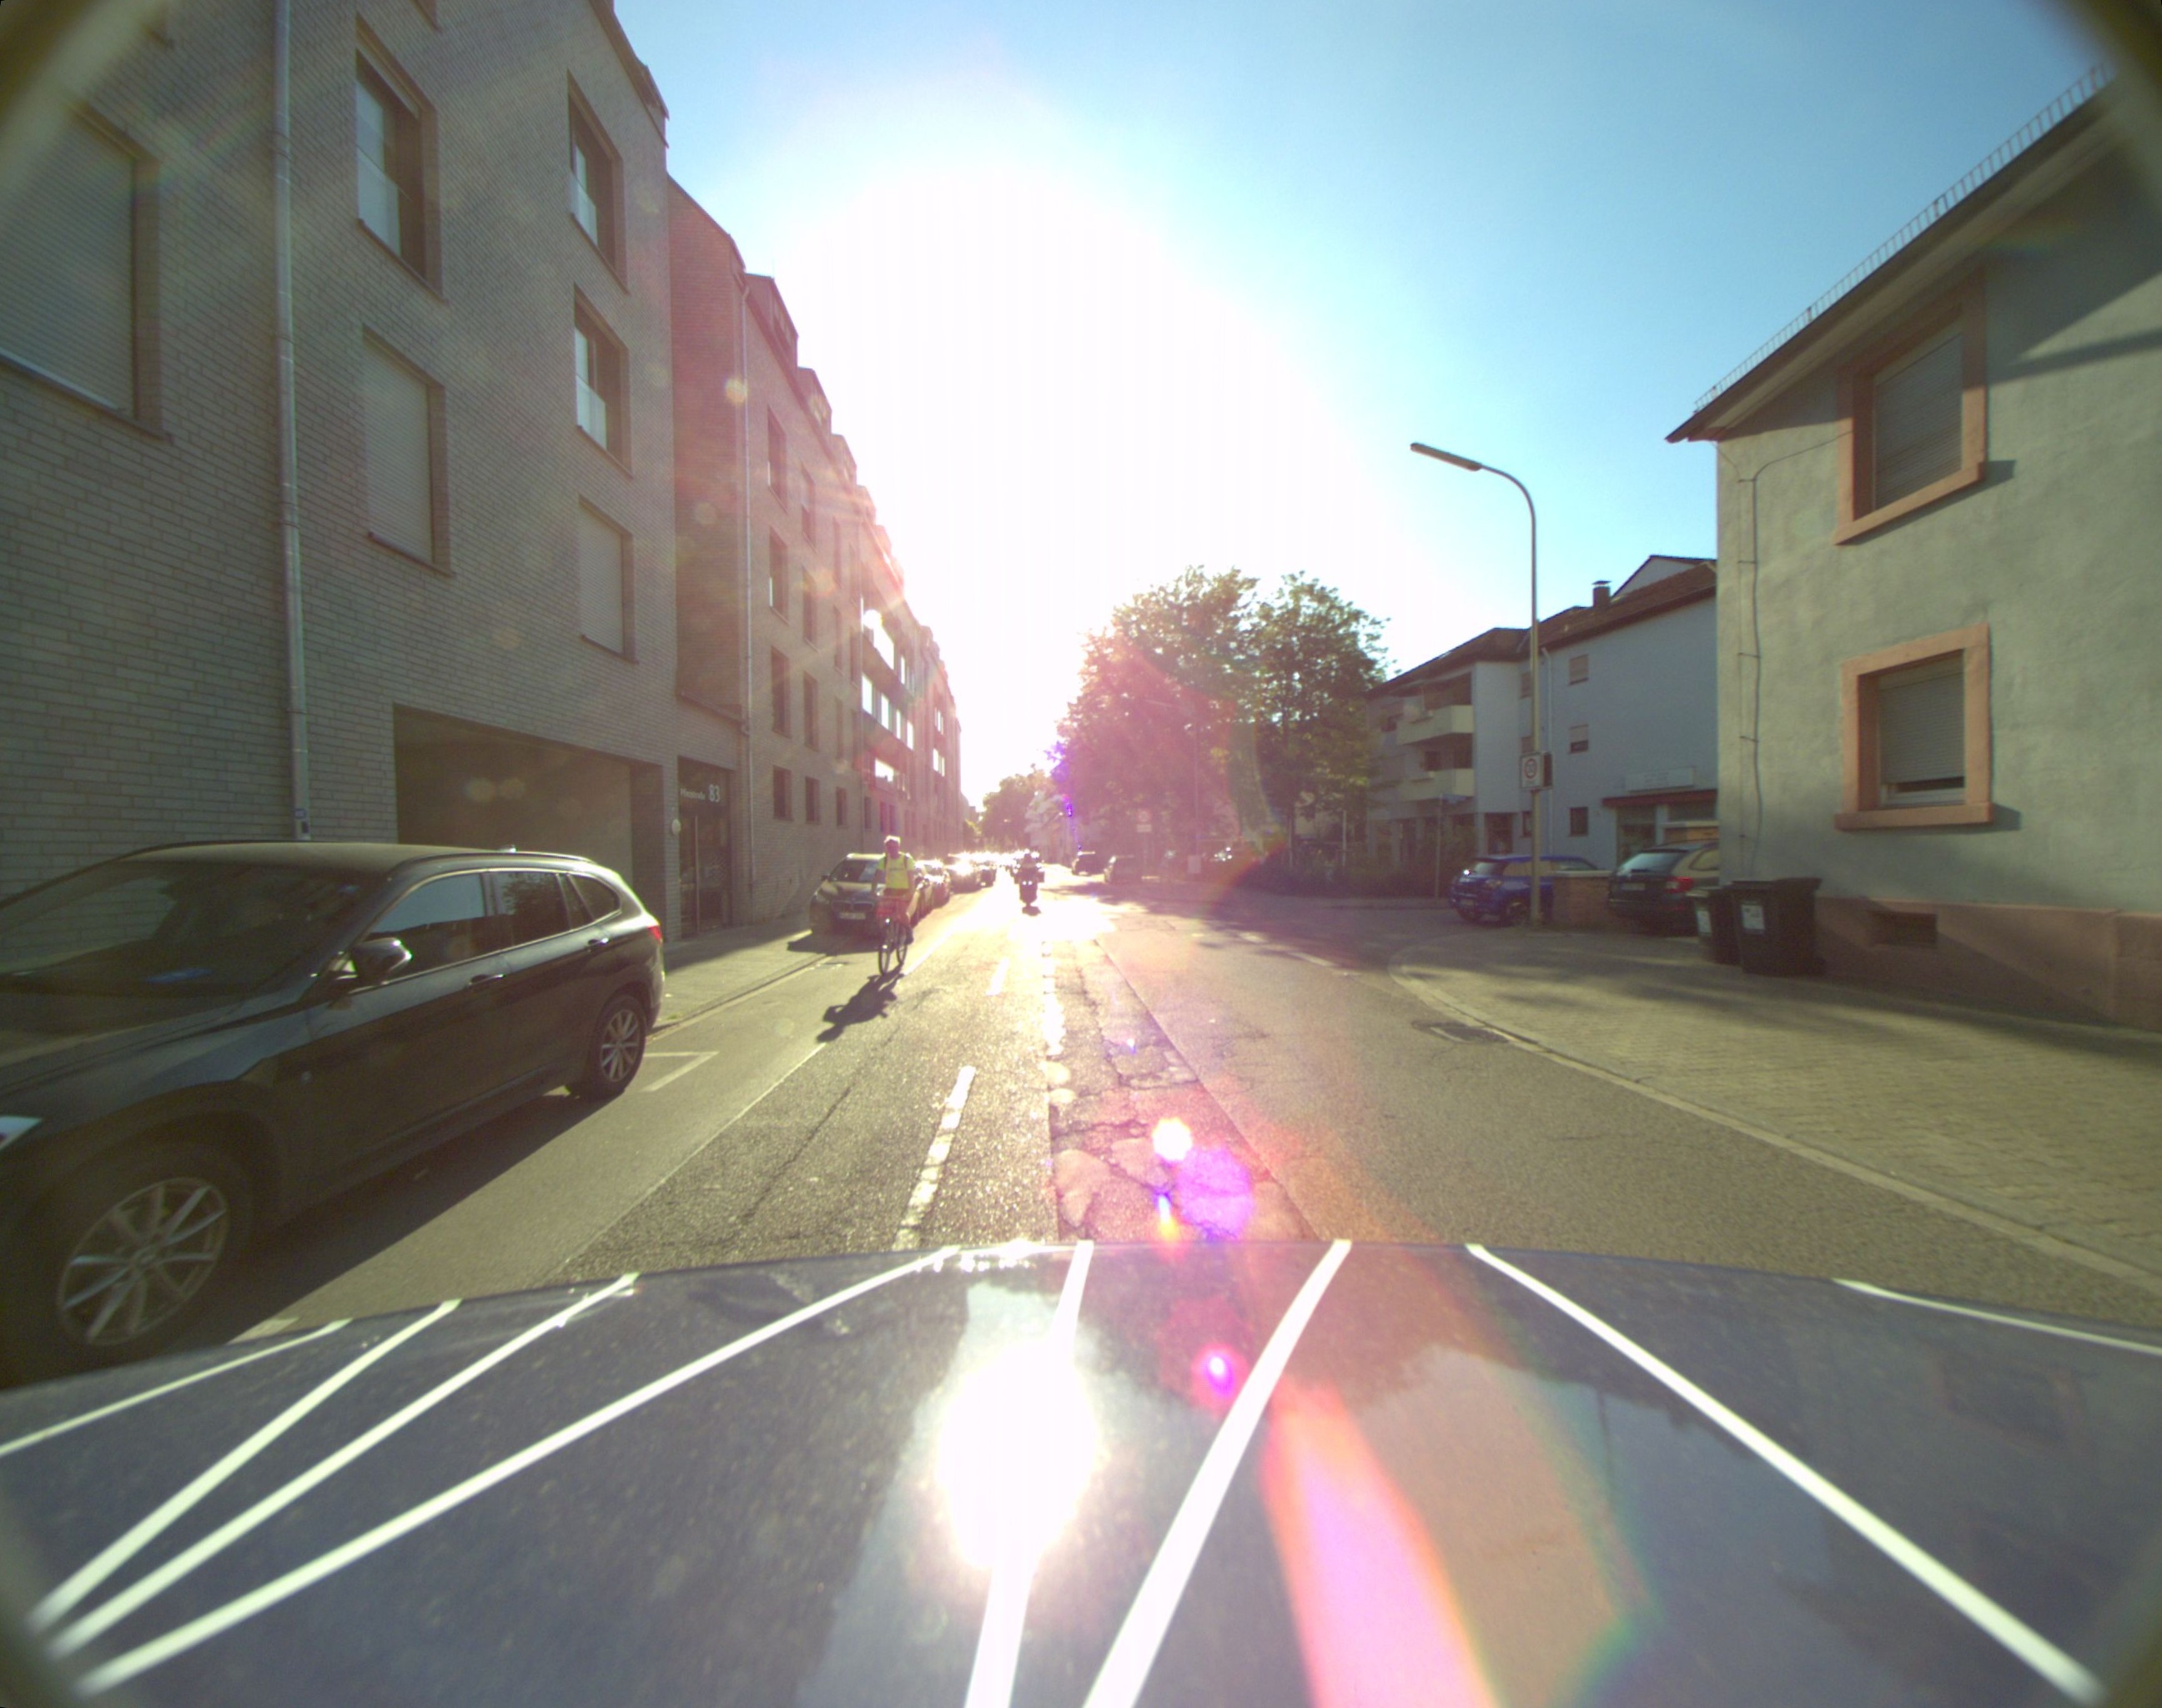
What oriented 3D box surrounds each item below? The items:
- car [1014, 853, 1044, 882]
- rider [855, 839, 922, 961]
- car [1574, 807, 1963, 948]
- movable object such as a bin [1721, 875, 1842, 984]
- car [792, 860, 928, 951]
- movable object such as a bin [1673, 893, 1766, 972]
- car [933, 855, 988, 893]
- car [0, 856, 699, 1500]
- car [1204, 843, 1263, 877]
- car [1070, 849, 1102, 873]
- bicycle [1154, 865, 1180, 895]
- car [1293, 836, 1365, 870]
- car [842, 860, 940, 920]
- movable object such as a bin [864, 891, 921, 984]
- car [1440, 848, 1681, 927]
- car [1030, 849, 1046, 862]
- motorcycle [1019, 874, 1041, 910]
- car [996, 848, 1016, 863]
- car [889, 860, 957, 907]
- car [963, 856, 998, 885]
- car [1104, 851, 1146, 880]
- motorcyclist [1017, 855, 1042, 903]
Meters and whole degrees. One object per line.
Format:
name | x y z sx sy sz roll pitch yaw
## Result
car | -3.134 0.780 45.314 1.709 1.570 3.913 -2 1 -5
rider | -2.650 0.596 10.559 0.655 1.553 1.082 -3 2 -5
car | 10.759 0.374 12.150 4.375 1.783 1.988 -4 -2 -2
movable object such as a bin | 7.549 0.793 8.216 0.600 1.088 0.751 -1 1 -3
car | -4.582 0.967 16.486 2.000 1.643 4.760 0 0 -6
movable object such as a bin | 7.664 0.926 9.138 0.600 0.867 0.606 -1 1 -6
car | -5.787 0.925 37.138 1.894 1.702 4.774 0 0 0
car | -3.833 0.862 3.598 1.860 1.626 4.621 2 0 -3
car | 8.859 0.345 44.566 1.849 1.884 4.902 -1 0 -8
car | 0.359 0.519 60.971 1.937 1.695 5.097 -3 1 -6
bicycle | 3.148 0.924 27.946 0.705 0.997 1.941 -1 1 0
car | 14.779 -0.054 45.506 2.025 1.937 4.317 -1 1 -16
car | -5.243 0.926 21.560 1.999 1.497 4.365 0 0 -4
movable object such as a bin | -2.632 1.124 10.742 0.456 1.027 1.839 -3 2 -5
car | 9.828 0.668 15.803 3.778 1.521 1.999 0 0 -3
car | -6.601 0.191 115.364 1.999 1.619 3.997 -7 1 -7
motorcycle | -1.573 1.138 23.309 0.599 1.004 1.820 0 1 -5
car | -7.128 0.123 72.482 1.822 1.458 4.267 0 1 -5
car | -5.416 0.968 26.479 1.717 1.396 4.071 3 0 -4
car | -5.663 0.896 43.147 1.822 1.458 4.267 0 1 -5
car | 2.400 0.583 42.070 1.702 1.483 3.998 -1 0 -5
motorcyclist | -1.557 0.732 22.988 0.718 1.424 0.746 0 1 -6
